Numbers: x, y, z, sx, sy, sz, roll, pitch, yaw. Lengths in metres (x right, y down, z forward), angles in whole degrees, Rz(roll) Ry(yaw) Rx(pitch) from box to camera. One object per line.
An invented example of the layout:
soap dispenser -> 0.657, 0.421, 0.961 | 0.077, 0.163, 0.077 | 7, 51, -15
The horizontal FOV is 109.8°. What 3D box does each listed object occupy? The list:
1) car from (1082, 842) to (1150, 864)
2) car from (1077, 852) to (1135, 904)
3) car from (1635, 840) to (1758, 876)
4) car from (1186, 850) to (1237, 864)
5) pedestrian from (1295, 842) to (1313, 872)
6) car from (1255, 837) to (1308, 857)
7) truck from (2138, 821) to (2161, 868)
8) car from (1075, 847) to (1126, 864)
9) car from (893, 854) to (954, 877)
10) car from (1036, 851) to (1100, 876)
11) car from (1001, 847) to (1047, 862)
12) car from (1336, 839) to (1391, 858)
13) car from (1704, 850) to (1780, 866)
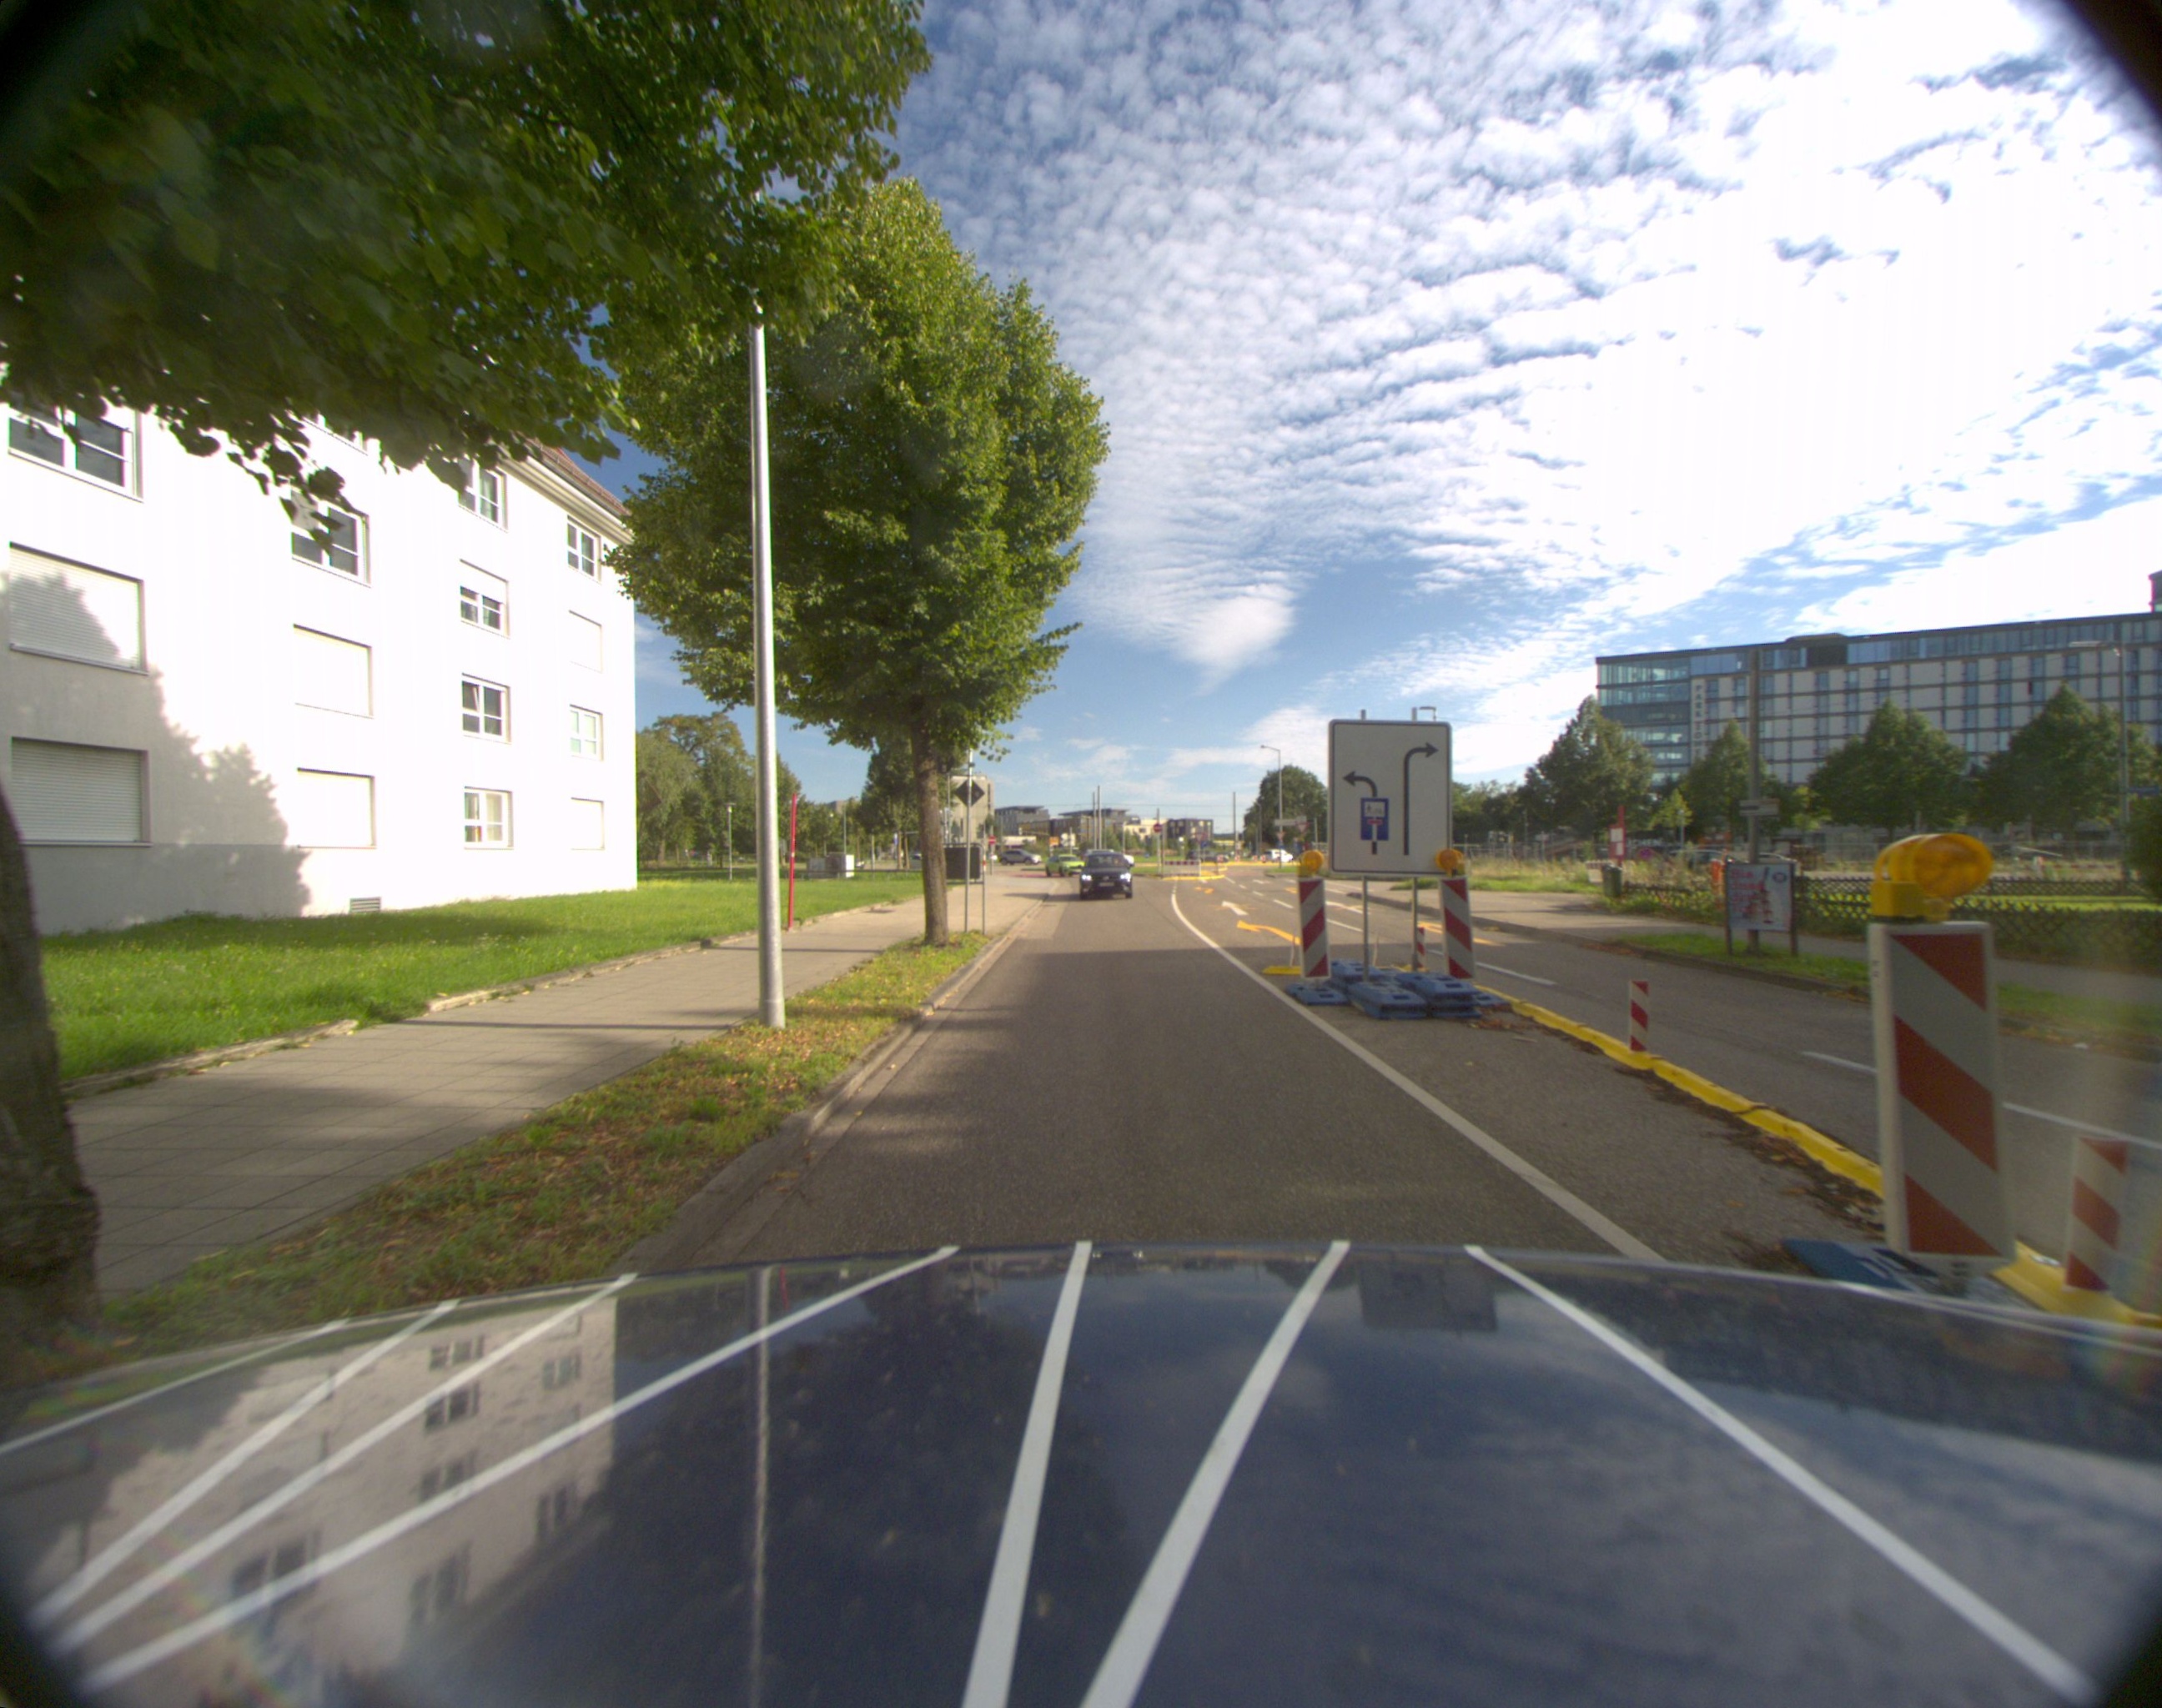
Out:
car -> 3.118, -0.080, 69.174 | 2.482, 1.856, 6.234 | -3, 2, -43
car -> 0.890, 0.768, 26.840 | 1.821, 1.648, 4.243 | -2, 0, 2
car -> 30.682, 0.185, 37.974 | 2.003, 1.648, 4.401 | -3, 2, -36
car -> 13.331, 0.265, 77.708 | 4.816, 1.344, 1.996 | -1, 1, -20
pedestrian -> 13.934, 0.169, 47.514 | 0.710, 1.813, 0.744 | -2, 1, -20
car -> 21.877, -0.789, 82.754 | 5.511, 2.047, 2.471 | -2, 2, -32
truck -> 66.941, -0.545, 43.504 | 3.356, 2.838, 8.122 | -1, 1, 18
car -> 2.011, 0.123, 76.024 | 4.863, 1.515, 2.306 | -2, 1, 5
car -> -13.999, 1.029, 67.303 | 5.389, 1.856, 1.843 | -1, 2, 31
car -> -0.954, 0.568, 50.152 | 2.044, 1.461, 5.976 | -2, 1, -24
car -> -5.804, 0.052, 77.252 | 4.254, 1.477, 2.002 | 0, 1, 18
car -> 32.718, -0.678, 87.980 | 5.812, 2.047, 2.472 | -2, 2, -23
car -> 59.842, 0.372, 68.901 | 4.799, 1.344, 2.003 | 0, 1, 27
